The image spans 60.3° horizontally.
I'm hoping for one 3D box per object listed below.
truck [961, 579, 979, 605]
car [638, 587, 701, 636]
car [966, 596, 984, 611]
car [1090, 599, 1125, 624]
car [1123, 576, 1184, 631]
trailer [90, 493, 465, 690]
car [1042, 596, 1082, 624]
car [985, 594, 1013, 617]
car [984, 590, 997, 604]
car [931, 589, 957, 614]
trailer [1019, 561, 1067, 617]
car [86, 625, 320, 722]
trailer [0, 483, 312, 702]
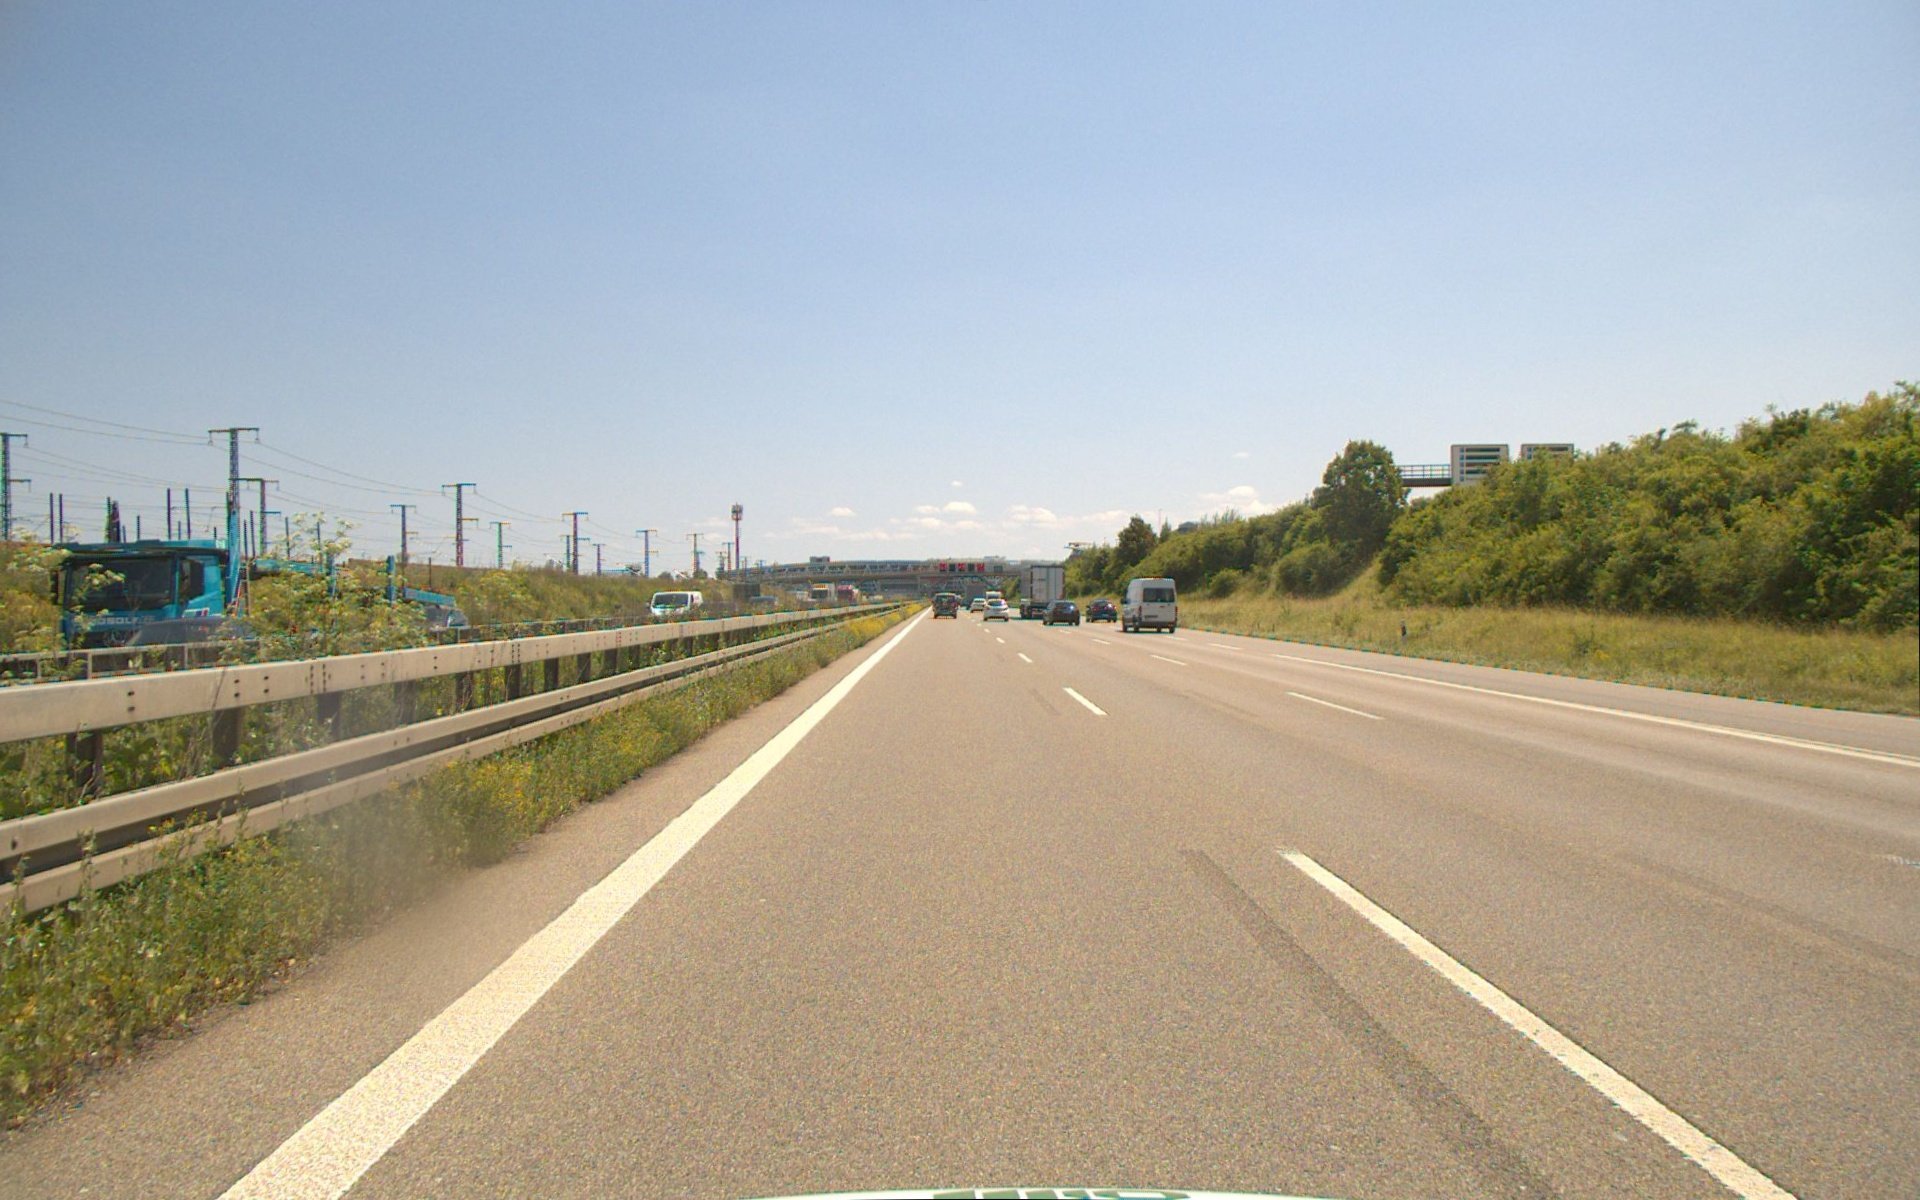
[{"bbox_3d":[1.314,-1.131,224.942,2.307,3.476,6.056,0,0,0],"label":"truck"},{"bbox_3d":[-12.788,0.491,73.101,1.953,2.049,5.431,0,0,-1],"label":"car"},{"bbox_3d":[1.576,0.385,177.050,1.842,1.553,4.000,1,-1,0],"label":"car"},{"bbox_3d":[10.190,0.794,114.597,1.953,1.624,3.999,2,-1,-1],"label":"car"},{"bbox_3d":[9.421,0.152,81.032,2.228,2.572,5.398,0,0,-2],"label":"car"},{"bbox_3d":[-16.119,-0.183,41.252,2.989,3.935,15.973,0,0,-1],"label":"trailer"},{"bbox_3d":[6.054,0.623,98.543,1.954,1.534,3.997,2,-1,-3],"label":"car"},{"bbox_3d":[2.711,0.405,113.035,1.841,1.553,4.001,1,-1,2],"label":"car"},{"bbox_3d":[4.684,-0.436,256.162,1.952,2.049,4.437,-1,0,1],"label":"car"},{"bbox_3d":[-1.199,0.145,123.701,1.842,1.806,3.999,0,-1,-1],"label":"car"},{"bbox_3d":[6.351,-0.855,127.557,3.112,4.130,9.438,-1,0,0],"label":"trailer"},{"bbox_3d":[-11.944,1.134,26.429,1.848,1.367,4.132,-2,-1,-1],"label":"car"},{"bbox_3d":[-15.977,-0.139,33.486,2.989,3.935,7.202,0,0,-1],"label":"trailer"}]
